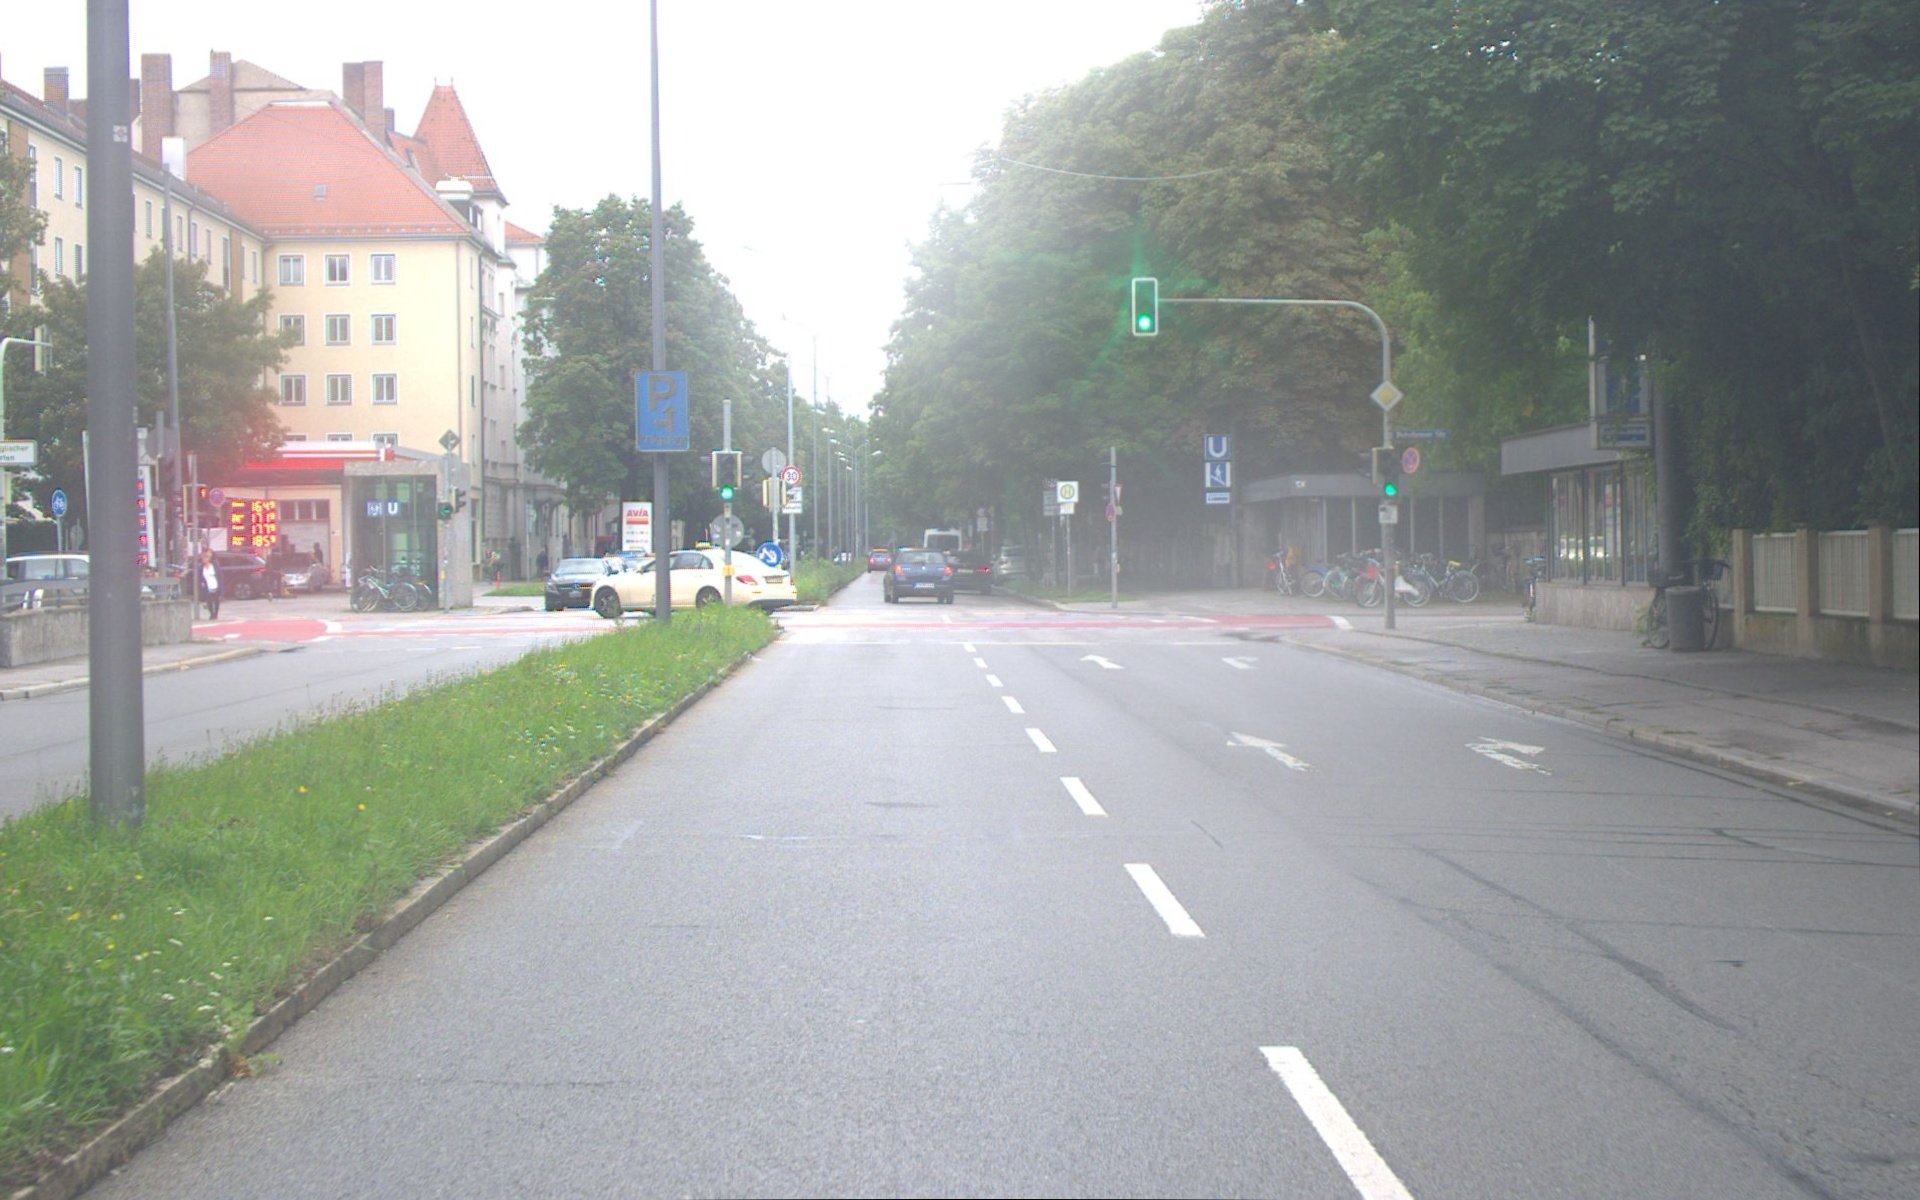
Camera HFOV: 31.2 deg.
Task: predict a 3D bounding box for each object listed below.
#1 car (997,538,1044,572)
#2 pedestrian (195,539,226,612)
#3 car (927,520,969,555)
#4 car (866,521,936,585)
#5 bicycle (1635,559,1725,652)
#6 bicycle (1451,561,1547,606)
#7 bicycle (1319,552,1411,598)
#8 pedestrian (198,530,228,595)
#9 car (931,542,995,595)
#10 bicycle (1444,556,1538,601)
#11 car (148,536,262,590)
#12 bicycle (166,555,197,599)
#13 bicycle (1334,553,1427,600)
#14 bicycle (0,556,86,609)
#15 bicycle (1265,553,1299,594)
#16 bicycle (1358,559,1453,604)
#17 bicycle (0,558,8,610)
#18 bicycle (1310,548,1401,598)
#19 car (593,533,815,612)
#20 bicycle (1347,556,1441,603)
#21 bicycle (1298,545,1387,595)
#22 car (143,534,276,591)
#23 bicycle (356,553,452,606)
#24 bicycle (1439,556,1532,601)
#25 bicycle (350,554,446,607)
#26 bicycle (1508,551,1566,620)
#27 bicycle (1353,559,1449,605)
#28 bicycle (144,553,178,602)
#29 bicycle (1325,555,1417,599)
[{"bbox_3d":[2.465,-1.844,140.675,1.743,1.358,3.807,-1,1,-1],"label":"car"},{"bbox_3d":[-17.475,-0.576,80.179,0.534,1.689,0.577,0,1,8],"label":"pedestrian"},{"bbox_3d":[-0.622,-3.157,172.996,1.993,1.750,4.000,-1,1,-2],"label":"car"},{"bbox_3d":[-1.608,-1.277,93.170,1.857,1.678,4.000,-1,1,-1],"label":"car"},{"bbox_3d":[8.771,0.051,41.935,0.622,1.087,2.026,-1,1,-1],"label":"bicycle"},{"bbox_3d":[12.374,-0.390,78.947,2.143,1.011,0.634,0,1,7],"label":"bicycle"},{"bbox_3d":[9.603,-0.597,81.525,2.143,1.082,0.603,0,1,7],"label":"bicycle"},{"bbox_3d":[-19.431,-0.969,89.381,0.589,1.689,0.577,-1,1,-31],"label":"pedestrian"},{"bbox_3d":[0.085,-1.030,113.652,1.922,1.678,4.000,1,0,-2],"label":"car"},{"bbox_3d":[12.307,-0.499,79.742,2.143,1.011,0.634,0,1,7],"label":"bicycle"},{"bbox_3d":[-28.576,-1.408,130.234,3.986,2.007,1.891,0,1,-5],"label":"car"},{"bbox_3d":[-20.688,-0.613,91.354,0.608,1.141,1.966,-1,1,-7],"label":"bicycle"},{"bbox_3d":[9.800,-0.548,80.082,2.143,1.097,0.603,0,1,7],"label":"bicycle"},{"bbox_3d":[-22.467,-0.429,82.617,2.703,1.246,0.794,1,0,-31],"label":"bicycle"},{"bbox_3d":[8.173,-0.680,87.264,0.556,1.011,2.016,0,1,-3],"label":"bicycle"},{"bbox_3d":[10.187,-0.434,78.627,2.143,1.011,0.634,0,1,7],"label":"bicycle"},{"bbox_3d":[-23.729,-0.366,81.526,2.179,1.231,0.766,-1,1,-12],"label":"bicycle"},{"bbox_3d":[9.457,-0.655,82.261,2.143,1.174,0.603,0,1,7],"label":"bicycle"},{"bbox_3d":[-5.482,-0.600,73.208,4.776,1.641,1.781,0,1,39],"label":"car"},{"bbox_3d":[10.019,-0.469,79.421,2.143,1.067,0.603,0,1,7],"label":"bicycle"},{"bbox_3d":[9.413,-0.748,84.562,2.143,1.214,0.603,0,1,7],"label":"bicycle"},{"bbox_3d":[-24.552,-1.232,112.569,3.986,1.831,1.881,-1,1,-3],"label":"car"},{"bbox_3d":[-14.002,-0.514,86.554,2.285,1.300,0.694,0,1,0],"label":"bicycle"},{"bbox_3d":[12.299,-0.504,80.510,2.143,1.011,0.634,0,1,7],"label":"bicycle"},{"bbox_3d":[-14.012,-0.491,85.775,2.271,1.300,0.704,0,1,0],"label":"bicycle"},{"bbox_3d":[9.574,-0.236,57.087,0.599,1.117,1.890,0,0,-1],"label":"bicycle"},{"bbox_3d":[10.000,-0.412,78.001,2.143,1.011,0.603,0,1,7],"label":"bicycle"},{"bbox_3d":[-20.266,-0.579,87.211,0.608,1.231,2.188,-1,1,-7],"label":"bicycle"},{"bbox_3d":[9.657,-0.552,80.796,2.143,1.011,0.603,0,1,7],"label":"bicycle"}]
